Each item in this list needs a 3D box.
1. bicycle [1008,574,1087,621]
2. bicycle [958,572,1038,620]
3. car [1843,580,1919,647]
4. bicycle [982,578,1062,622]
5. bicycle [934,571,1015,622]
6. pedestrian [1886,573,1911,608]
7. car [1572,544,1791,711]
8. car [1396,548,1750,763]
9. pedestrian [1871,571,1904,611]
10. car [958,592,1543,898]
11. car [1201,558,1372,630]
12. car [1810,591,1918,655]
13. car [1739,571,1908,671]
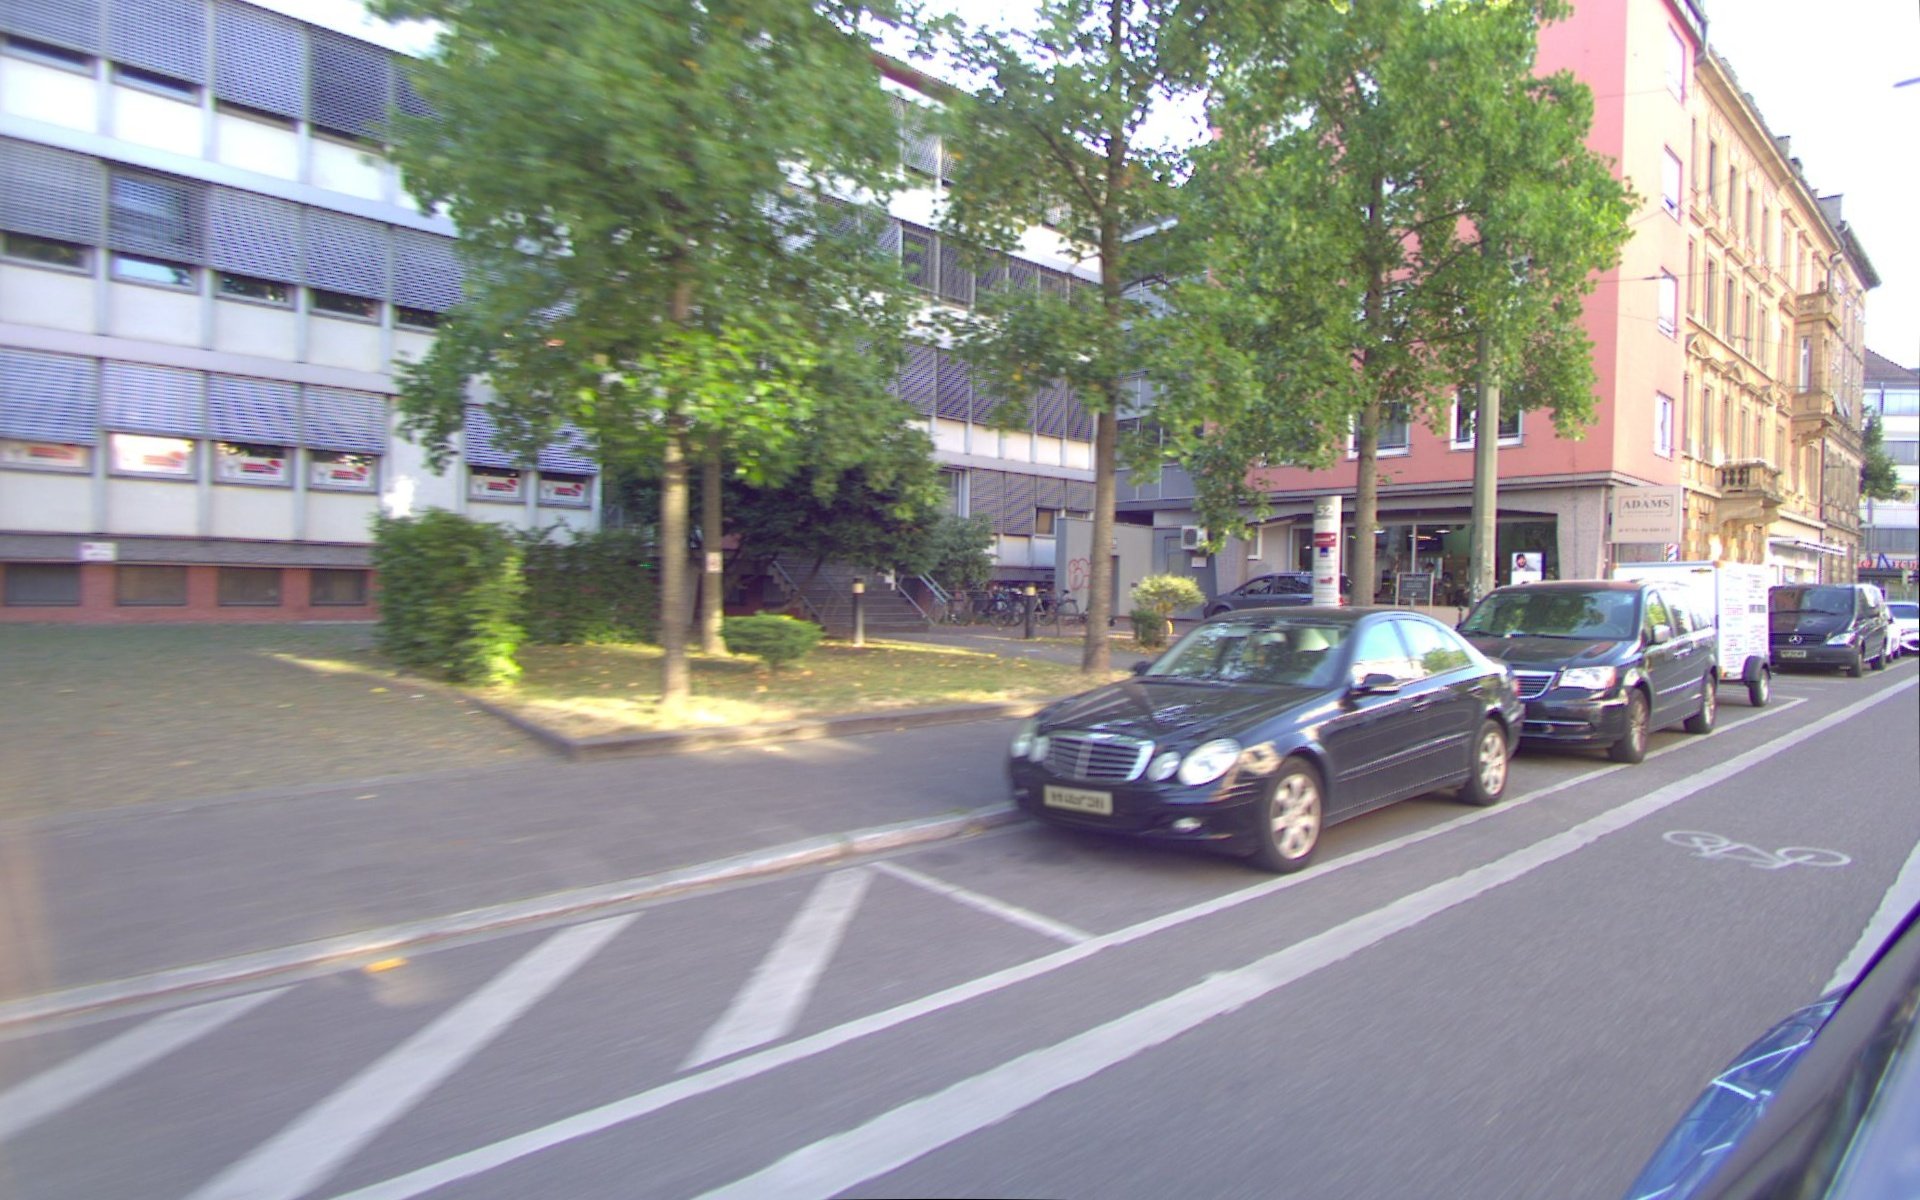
[{"bbox_3d":[2.446,-0.080,28.594,0.846,1.185,2.327,1,3,-36],"label":"bicycle"},{"bbox_3d":[0.993,-0.126,27.287,0.846,1.166,2.327,1,3,-36],"label":"bicycle"},{"bbox_3d":[27.204,0.357,29.165,4.790,1.794,1.970,0,0,-41],"label":"car"},{"bbox_3d":[1.672,-0.028,27.954,0.846,1.056,2.382,1,3,-36],"label":"bicycle"},{"bbox_3d":[0.355,-0.111,26.504,0.846,1.204,2.327,1,3,-36],"label":"bicycle"},{"bbox_3d":[47.585,-0.484,51.302,1.015,1.687,0.785,3,-1,-41],"label":"pedestrian"},{"bbox_3d":[10.627,0.320,14.834,3.639,2.146,1.709,-1,1,-39],"label":"car"},{"bbox_3d":[6.837,0.457,10.998,5.093,1.811,1.951,0,0,-43],"label":"car"},{"bbox_3d":[38.027,-0.375,41.504,0.897,1.586,0.778,1,4,-38],"label":"pedestrian"},{"bbox_3d":[2.268,0.713,6.980,4.594,1.445,1.719,1,-1,-42],"label":"car"},{"bbox_3d":[8.791,-0.217,27.473,4.031,1.669,1.749,5,3,44],"label":"car"},{"bbox_3d":[23.142,0.545,25.861,3.895,1.515,1.732,0,0,-43],"label":"car"},{"bbox_3d":[18.319,0.397,21.392,4.900,1.893,1.959,0,0,-40],"label":"car"}]
